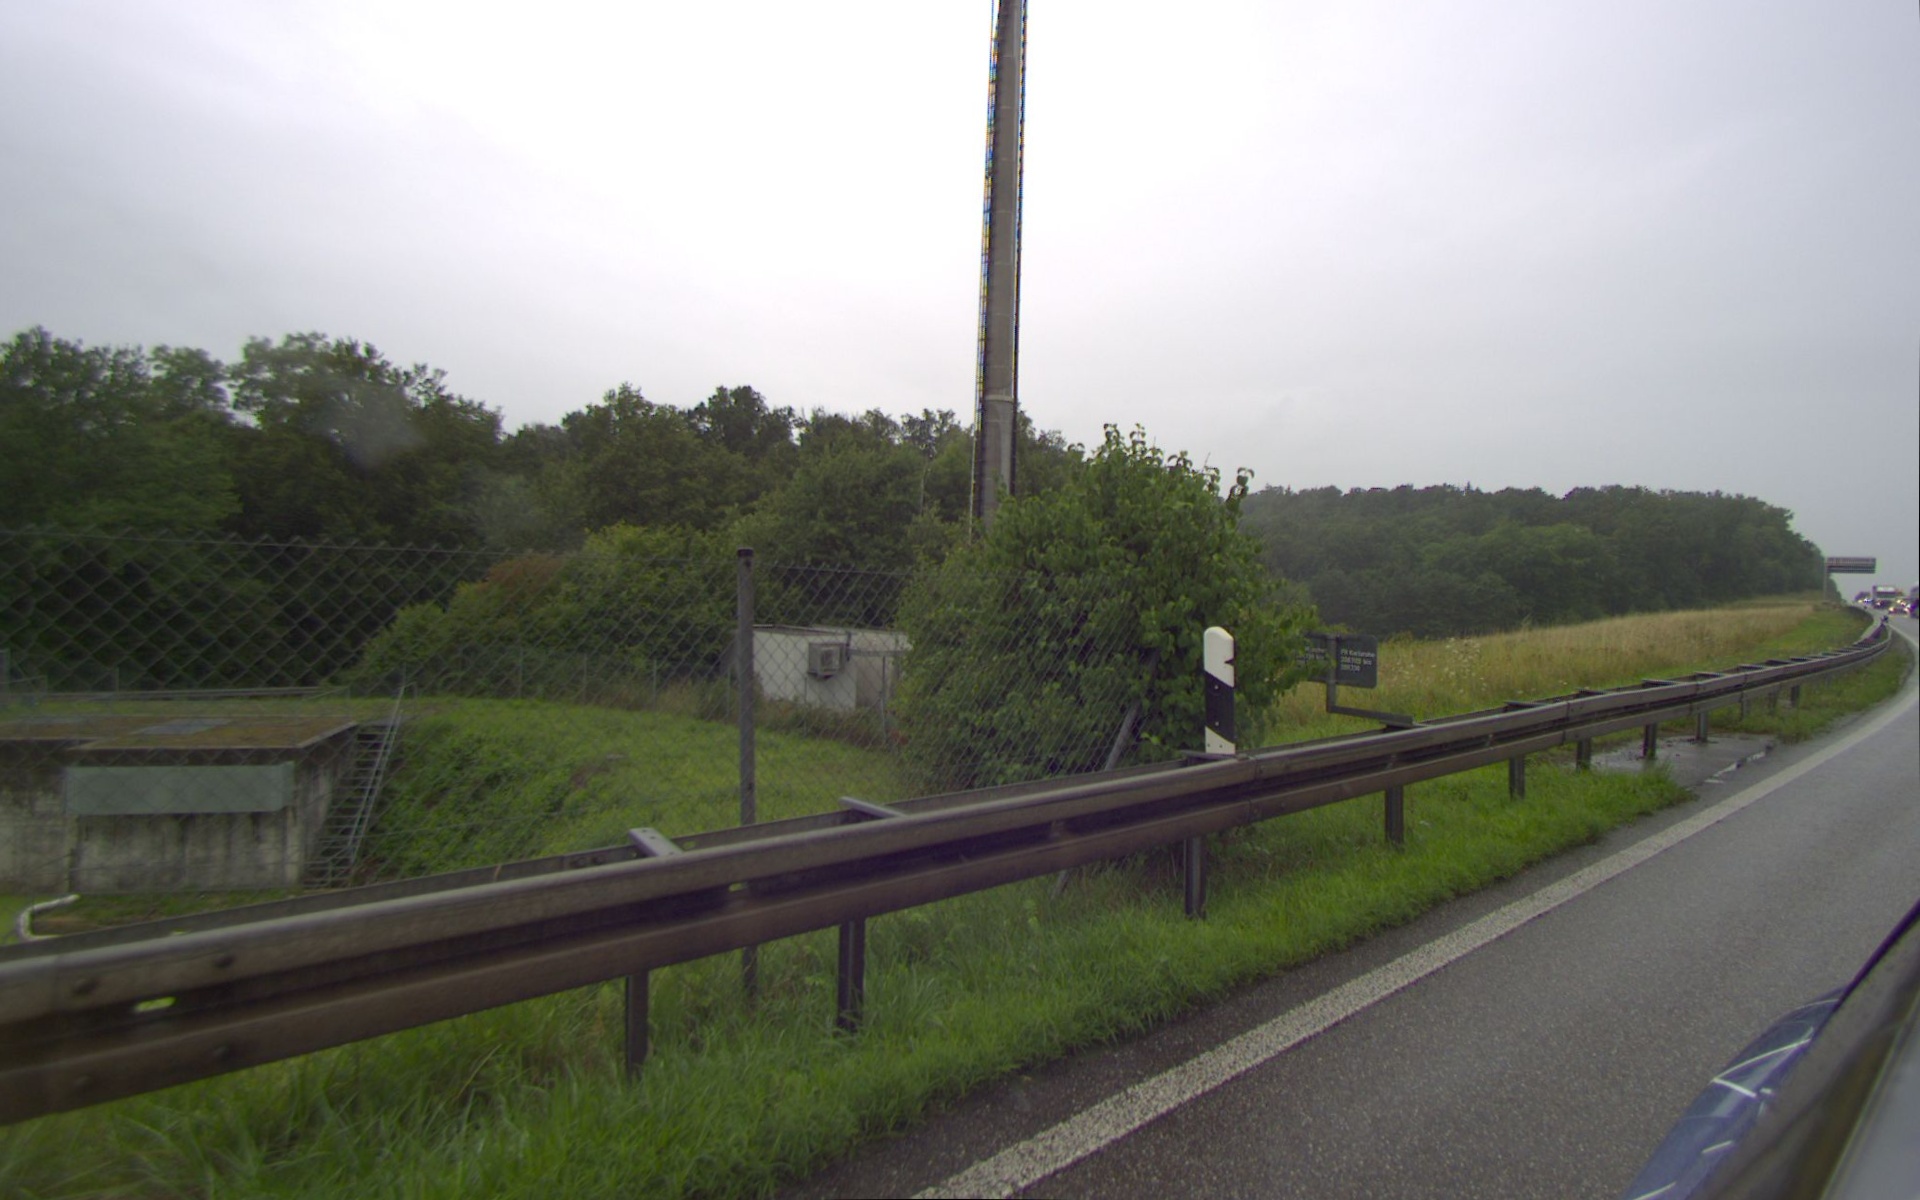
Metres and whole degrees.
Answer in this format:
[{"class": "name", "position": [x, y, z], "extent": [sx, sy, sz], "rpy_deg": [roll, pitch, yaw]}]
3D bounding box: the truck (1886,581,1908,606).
[{"class": "truck", "position": [161.629, -1.166, 174.555], "extent": [5.144, 4.198, 2.592], "rpy_deg": [1, -1, -44]}]
